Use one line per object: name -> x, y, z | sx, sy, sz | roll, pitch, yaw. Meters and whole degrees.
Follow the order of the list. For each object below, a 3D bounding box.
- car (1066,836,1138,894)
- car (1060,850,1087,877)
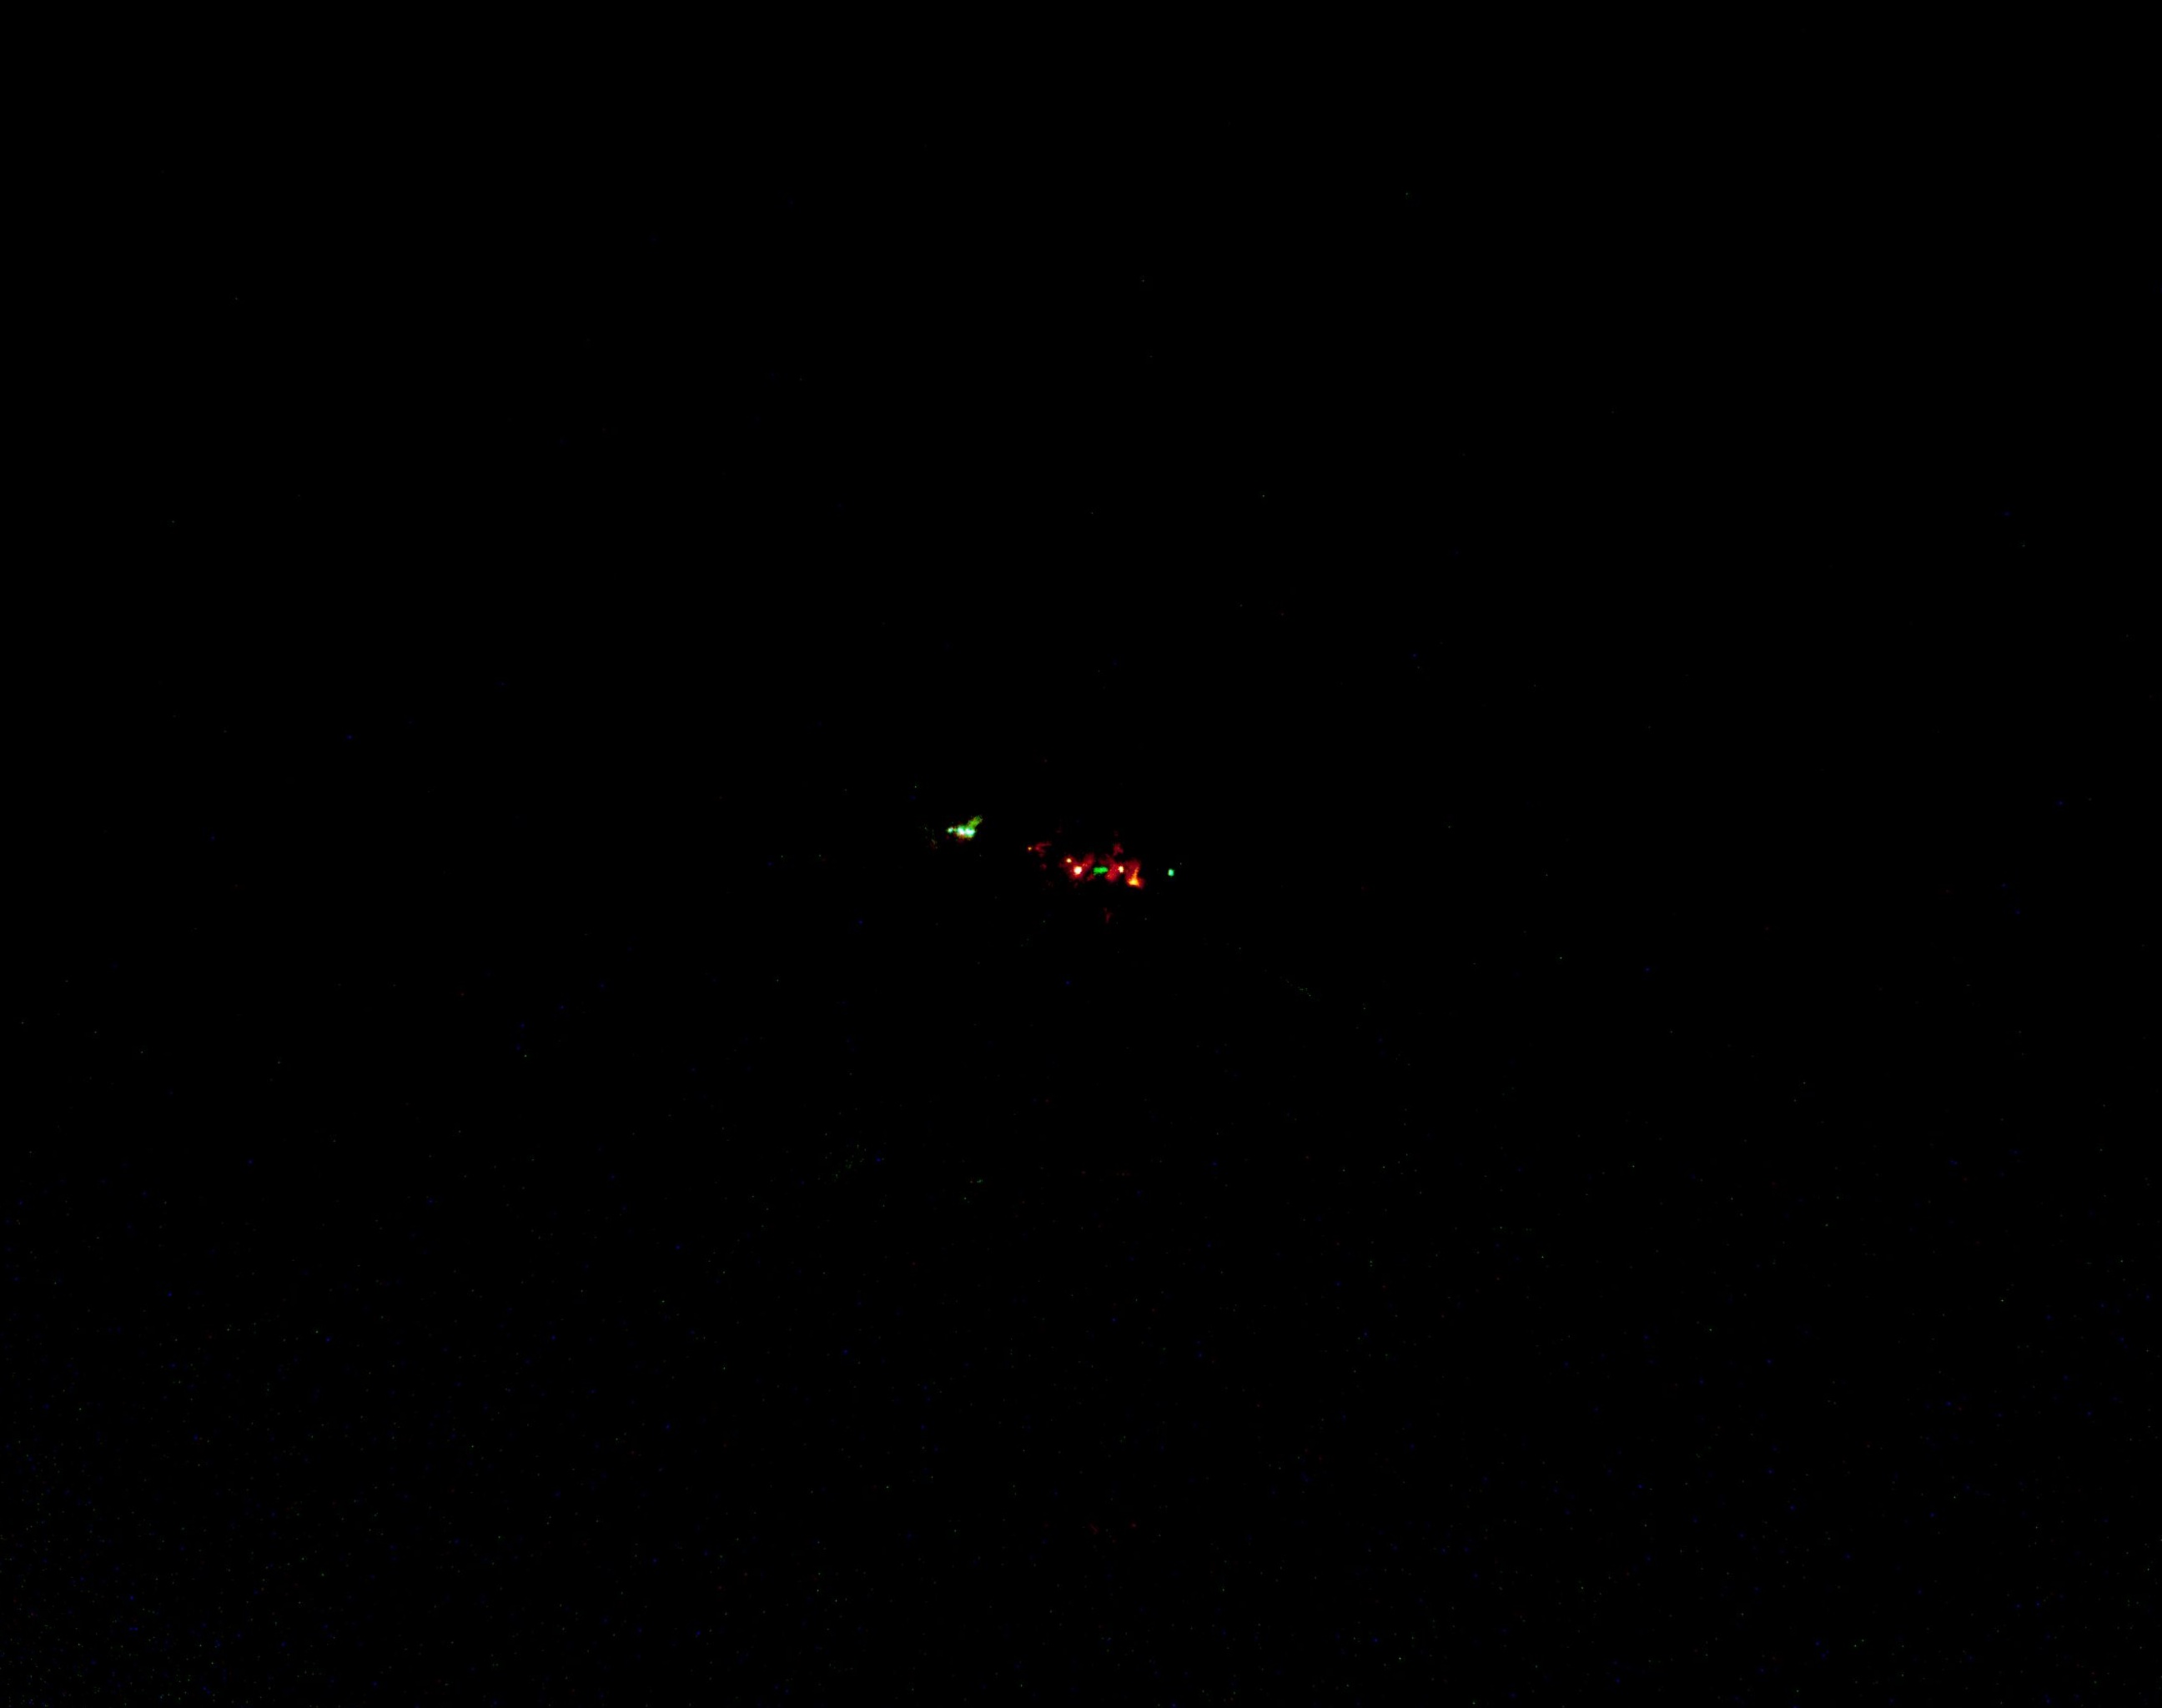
car -> 0.756, 0.392, 31.271 | 2.450, 1.958, 4.911 | -2, 0, 0
car -> -0.618, 0.787, 66.966 | 1.988, 2.013, 3.998 | -4, -1, -1
